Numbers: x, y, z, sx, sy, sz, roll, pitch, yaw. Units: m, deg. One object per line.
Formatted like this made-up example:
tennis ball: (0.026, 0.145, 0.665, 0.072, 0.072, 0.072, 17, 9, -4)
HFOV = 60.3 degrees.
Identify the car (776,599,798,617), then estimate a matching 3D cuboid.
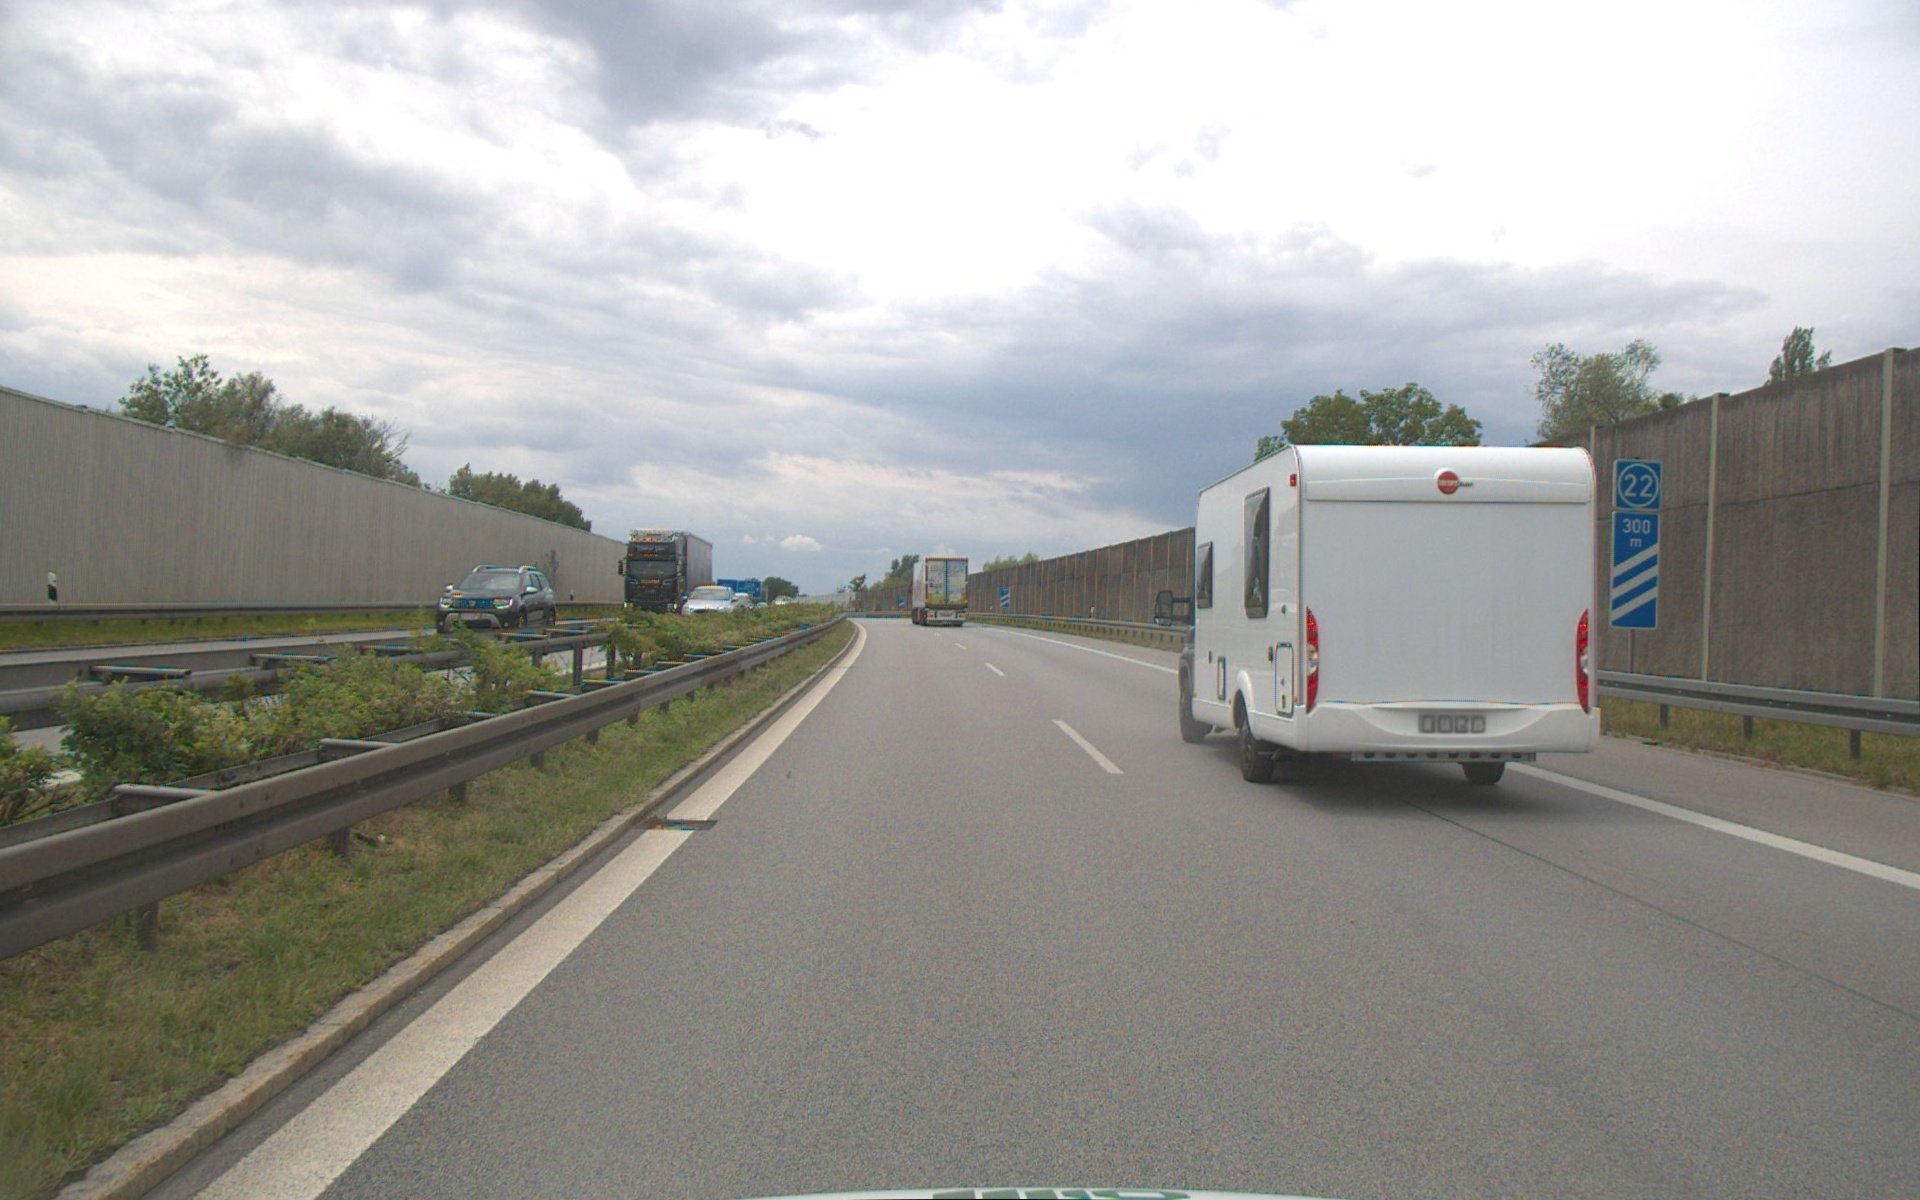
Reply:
car: (-17.197, 0.747, 164.655, 1.925, 1.699, 4.920, 2, 0, -4)

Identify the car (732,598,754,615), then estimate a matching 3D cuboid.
car: (-19.371, 0.594, 147.568, 1.688, 1.442, 4.551, 1, 0, -4)

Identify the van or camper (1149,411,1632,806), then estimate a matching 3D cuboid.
van or camper: (3.485, 0.067, 15.392, 2.380, 2.744, 7.223, 2, 0, -2)

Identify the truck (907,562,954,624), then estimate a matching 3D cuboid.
truck: (-2.020, -0.425, 111.103, 2.702, 4.029, 5.671, 1, -1, -5)

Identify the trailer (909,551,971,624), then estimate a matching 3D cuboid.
trailer: (-1.383, -0.660, 104.891, 2.738, 4.248, 14.086, 1, -1, -5)

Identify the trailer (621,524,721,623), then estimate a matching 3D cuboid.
trailer: (-13.807, -1.175, 80.328, 2.922, 4.314, 14.171, 1, 0, -3)

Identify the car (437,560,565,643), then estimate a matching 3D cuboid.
car: (-10.101, 0.026, 36.704, 1.681, 1.670, 4.702, 1, 0, -3)

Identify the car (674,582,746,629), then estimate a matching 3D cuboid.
car: (-8.764, 0.184, 58.397, 1.892, 1.576, 4.565, 1, 0, -1)

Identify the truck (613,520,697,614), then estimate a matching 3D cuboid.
truck: (-13.458, -1.407, 73.401, 2.816, 3.926, 6.071, 1, 0, -3)
